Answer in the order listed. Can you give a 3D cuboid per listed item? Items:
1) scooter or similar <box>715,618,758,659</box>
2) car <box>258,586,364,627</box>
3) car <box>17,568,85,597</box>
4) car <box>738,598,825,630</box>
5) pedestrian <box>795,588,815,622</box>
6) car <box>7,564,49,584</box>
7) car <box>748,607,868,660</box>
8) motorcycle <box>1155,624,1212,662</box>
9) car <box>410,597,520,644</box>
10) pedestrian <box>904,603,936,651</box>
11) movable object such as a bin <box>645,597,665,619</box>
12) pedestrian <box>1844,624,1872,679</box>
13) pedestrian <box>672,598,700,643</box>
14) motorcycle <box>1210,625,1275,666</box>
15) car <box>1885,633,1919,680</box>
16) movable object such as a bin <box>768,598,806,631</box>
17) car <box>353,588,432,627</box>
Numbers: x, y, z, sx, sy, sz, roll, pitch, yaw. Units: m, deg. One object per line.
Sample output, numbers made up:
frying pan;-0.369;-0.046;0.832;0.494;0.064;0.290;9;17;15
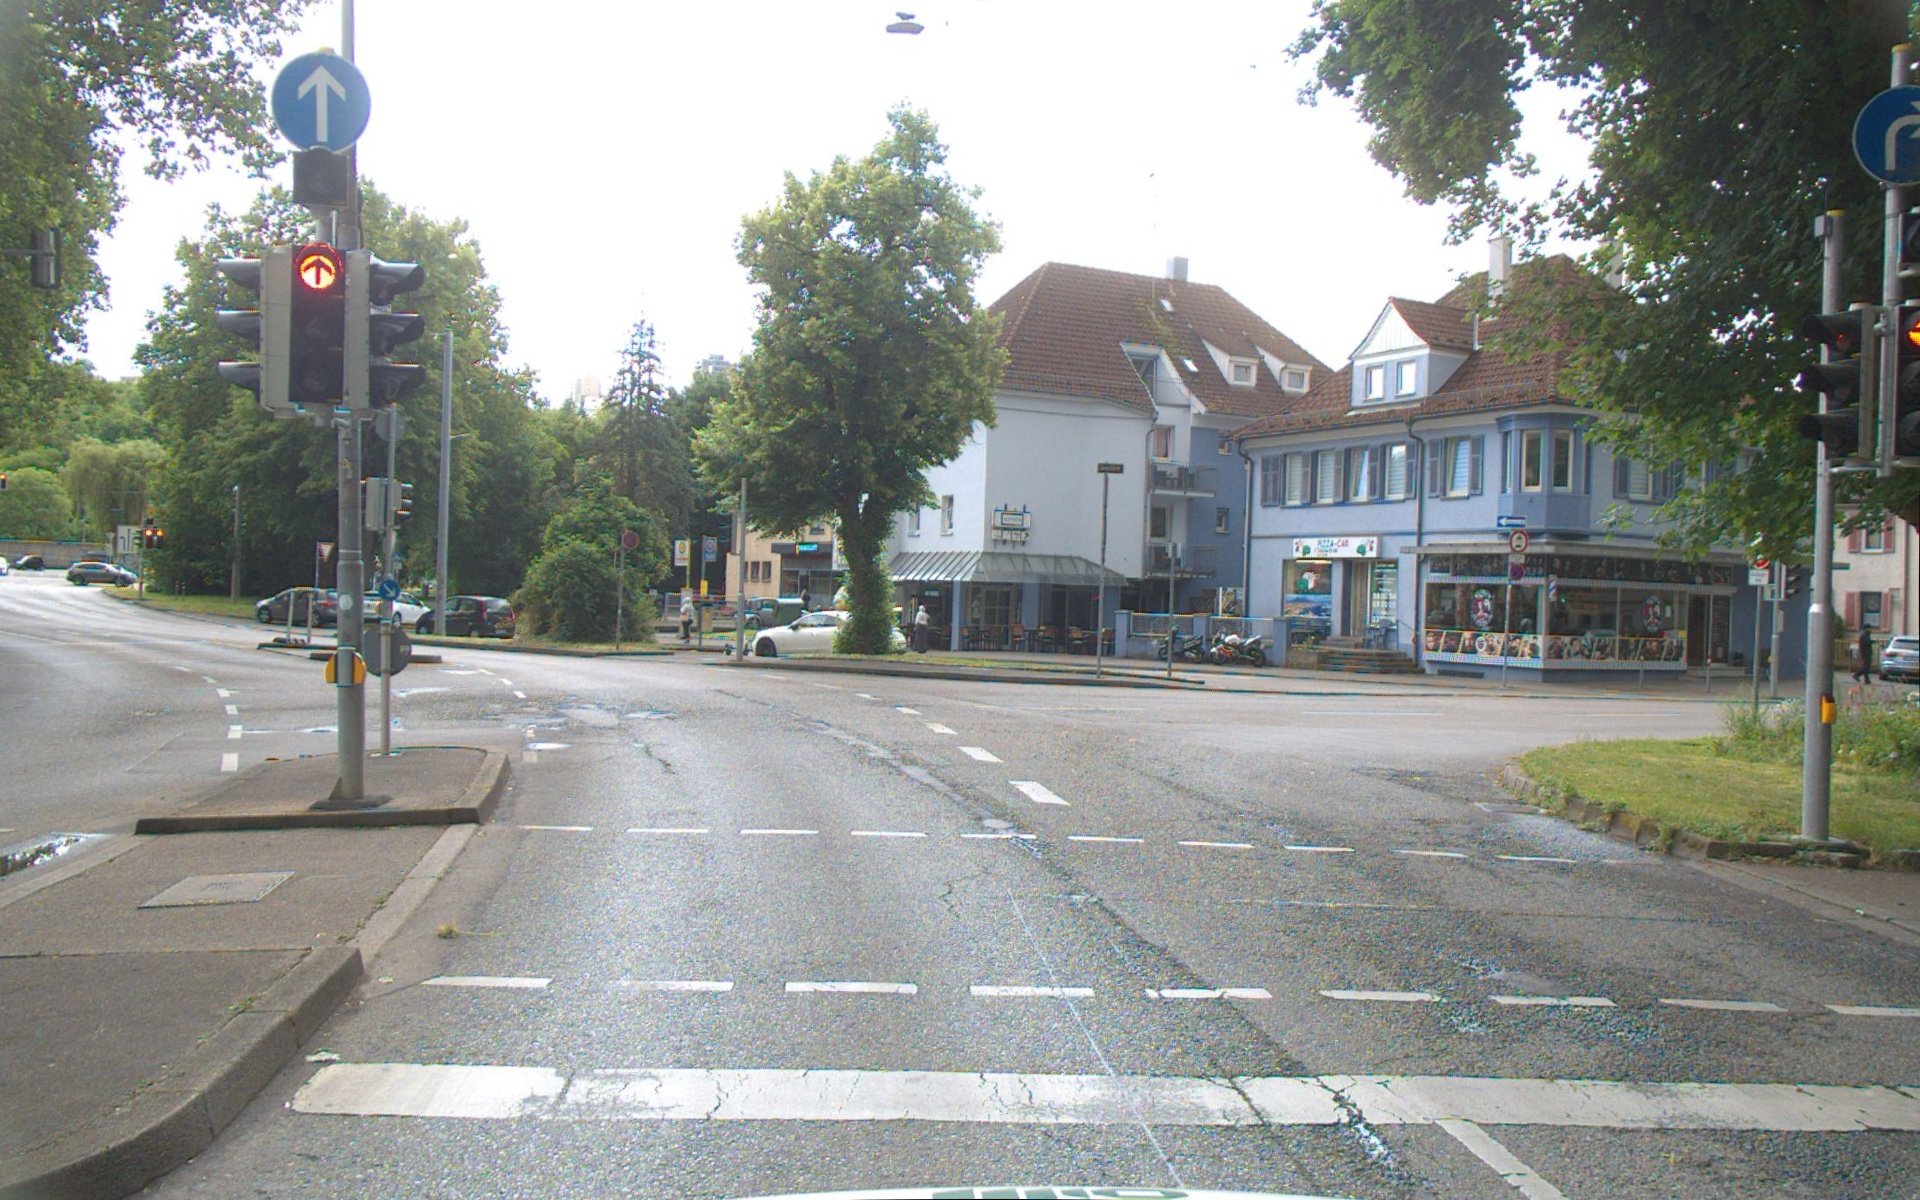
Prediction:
scooter or similar;-5.729;0.985;42.539;0.408;1.029;1.567;1;0;20
car;-24.859;0.249;63.390;3.469;1.490;1.586;1;0;12
car;-65.940;-1.269;120.002;3.923;2.049;1.855;1;0;-17
car;-8.158;0.646;75.730;3.690;1.368;1.421;1;0;-27
pedestrian;-7.355;0.226;78.575;0.670;1.572;0.699;2;0;-35
car;-102.221;-2.816;181.483;3.948;2.049;1.978;1;0;-32
car;-4.243;0.920;45.956;3.110;1.378;1.435;1;0;34
motorcycle;6.793;1.296;50.235;1.609;1.082;0.690;1;0;44
car;-16.006;0.662;53.459;3.519;1.418;1.468;1;0;32
pedestrian;-1.325;0.880;54.712;0.754;1.572;0.675;1;-1;38
movable object such as a bin;-15.854;0.400;85.911;0.937;1.135;0.381;1;0;-22
pedestrian;25.730;1.462;47.409;0.455;1.544;0.579;1;-1;-40
pedestrian;-9.695;0.726;58.588;0.694;1.572;0.675;1;0;39
motorcycle;8.274;1.313;48.479;1.765;1.141;0.692;1;0;38
car;29.853;1.741;51.413;1.471;1.393;3.164;1;0;38
movable object such as a bin;-7.718;0.662;73.839;1.424;1.433;0.959;1;0;-27
car;-22.668;0.311;66.181;1.512;1.490;3.398;1;0;10
